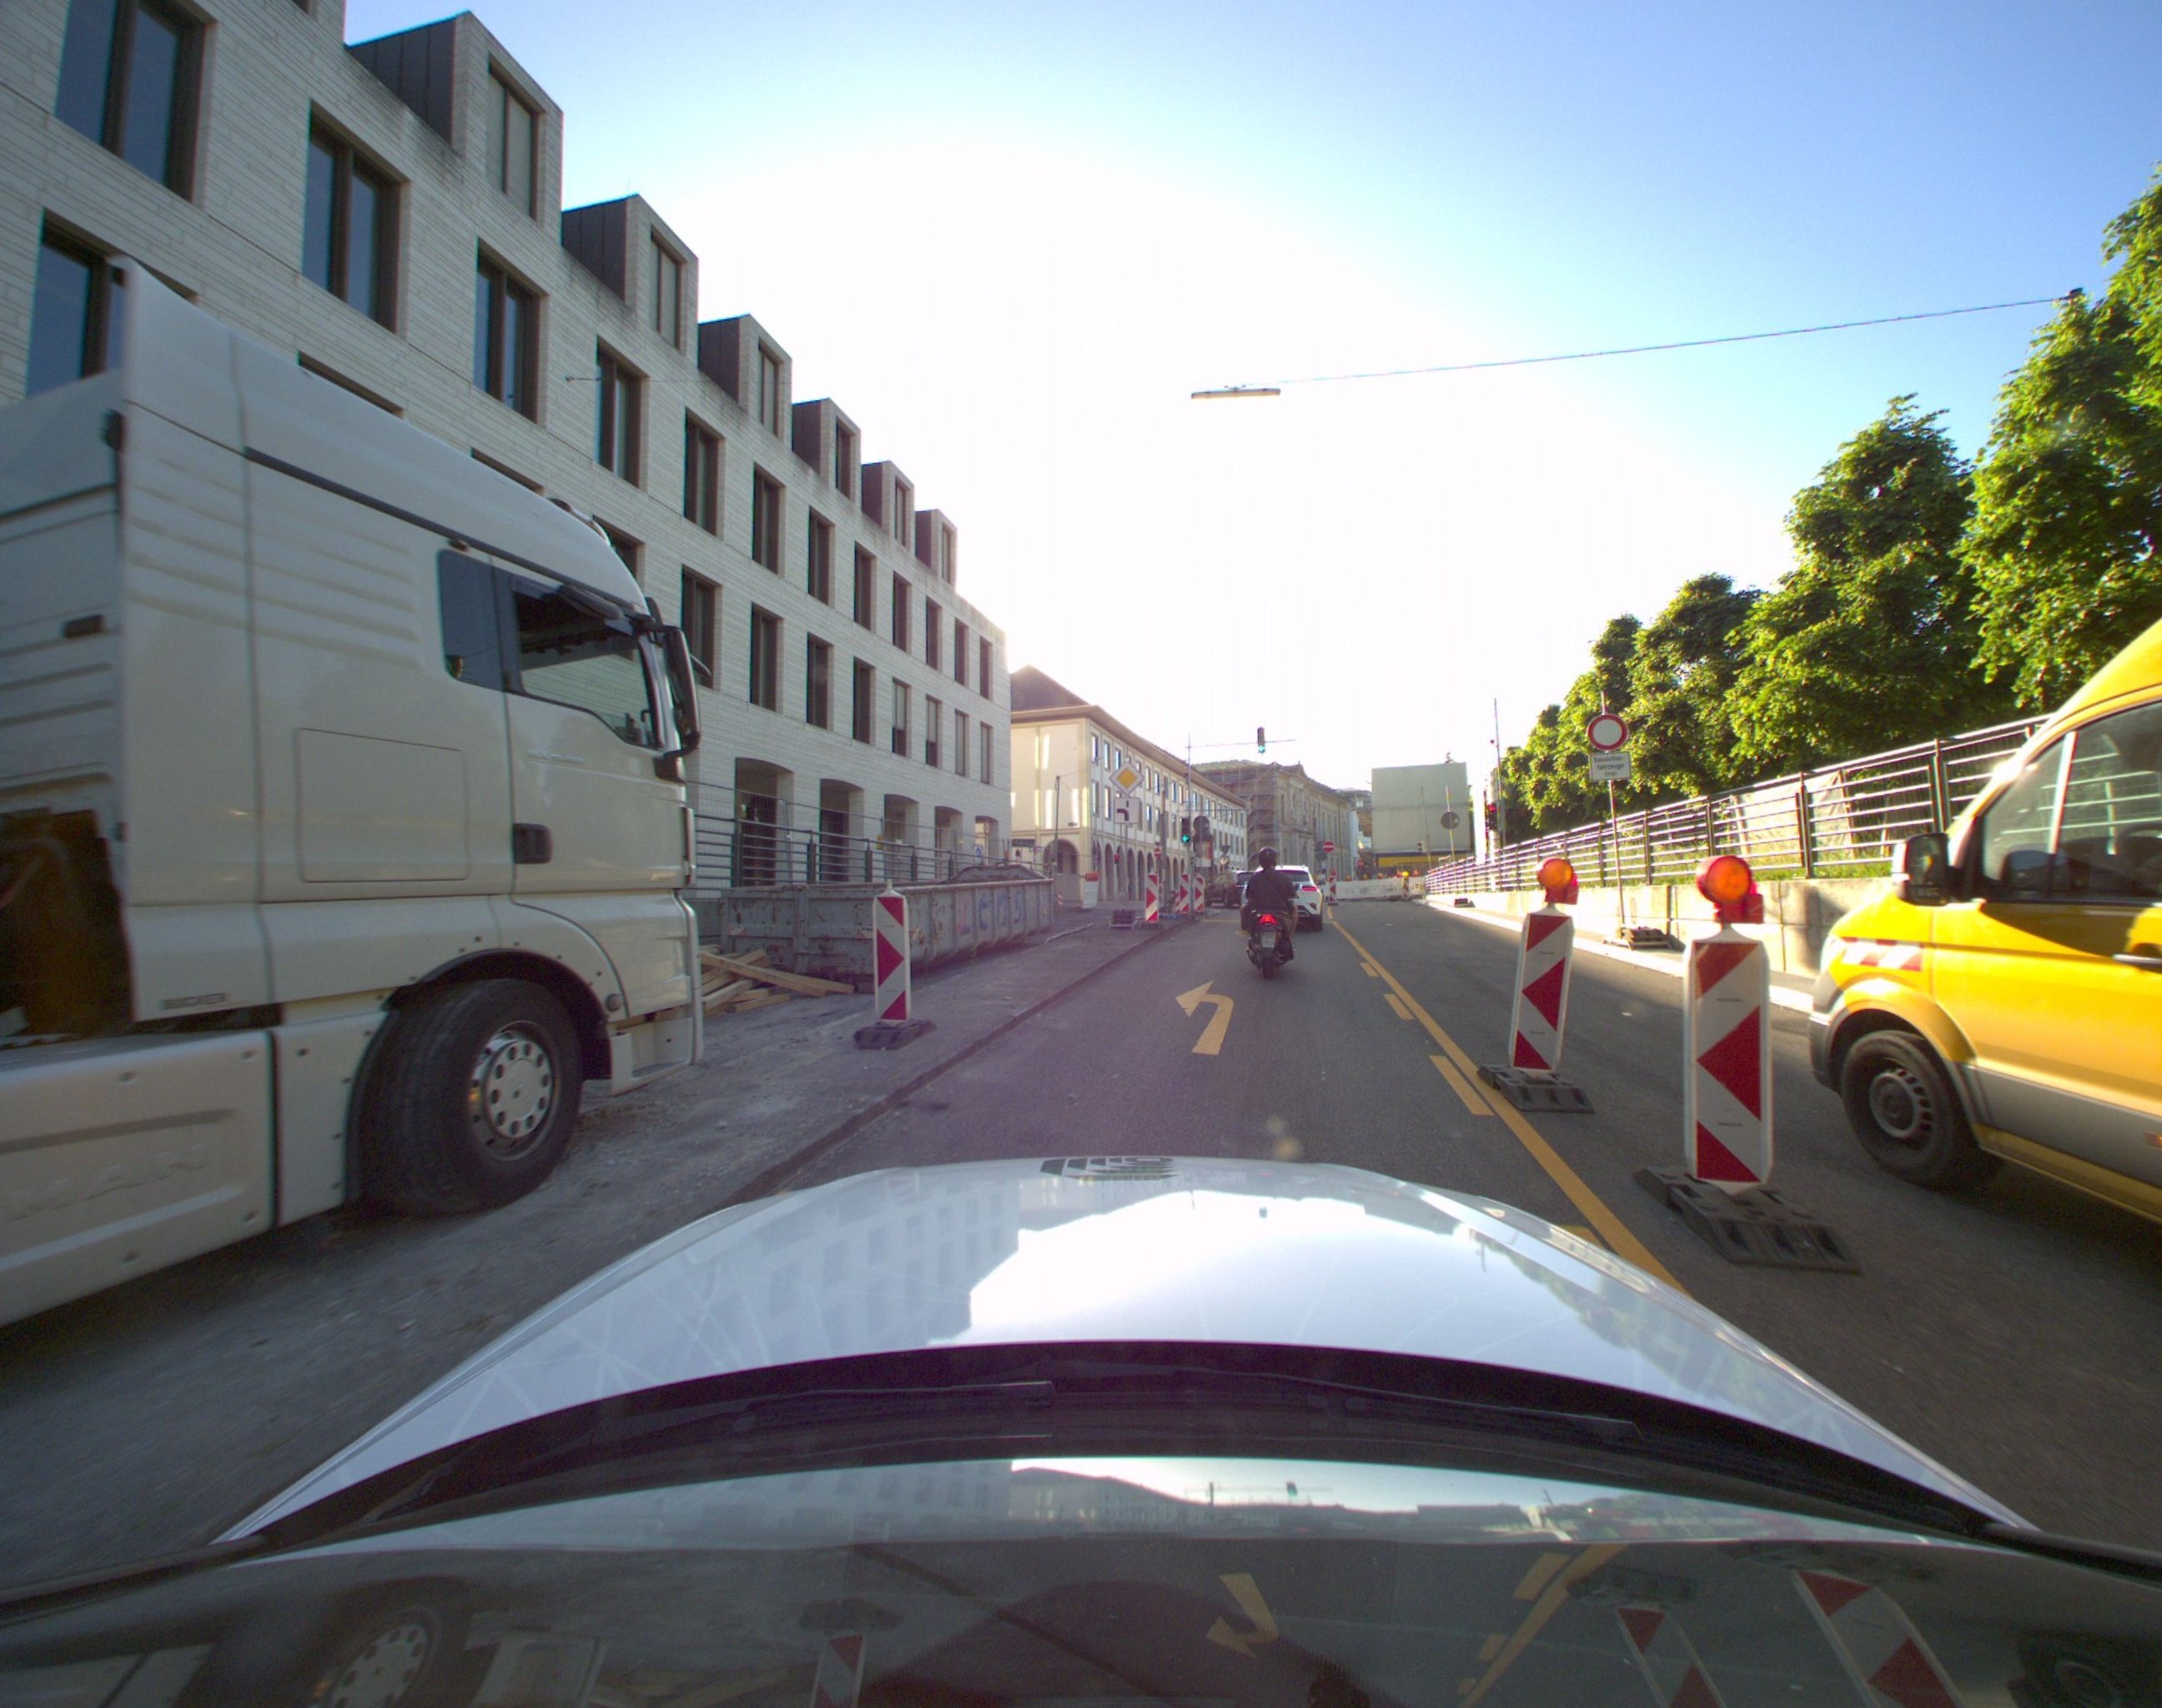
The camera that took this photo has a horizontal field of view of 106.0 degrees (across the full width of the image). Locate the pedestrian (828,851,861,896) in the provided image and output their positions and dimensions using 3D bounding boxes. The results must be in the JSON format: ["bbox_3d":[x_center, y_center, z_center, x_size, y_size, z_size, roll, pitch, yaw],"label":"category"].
[{"bbox_3d":[-8.237,0.687,28.434,0.665,1.488,0.801,-5,-1,16],"label":"pedestrian"}]

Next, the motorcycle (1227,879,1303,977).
[{"bbox_3d":[2.652,0.975,11.541,0.899,1.183,2.589,-1,-1,15],"label":"motorcycle"}]

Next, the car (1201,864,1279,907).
[{"bbox_3d":[6.202,1.267,32.204,1.773,1.550,4.094,-1,-3,-8],"label":"car"}]

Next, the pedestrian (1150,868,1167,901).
[{"bbox_3d":[4.433,1.734,46.546,0.767,1.802,0.714,-2,-1,18],"label":"pedestrian"}]

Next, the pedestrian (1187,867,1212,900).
[{"bbox_3d":[6.677,1.671,45.921,1.233,1.802,0.720,-2,-1,18],"label":"pedestrian"}]

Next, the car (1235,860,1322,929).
[{"bbox_3d":[4.845,0.951,19.728,1.845,1.472,4.016,0,-2,15],"label":"car"}]

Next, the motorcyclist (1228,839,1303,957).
[{"bbox_3d":[2.624,0.602,11.512,0.947,1.560,1.244,-1,-1,15],"label":"motorcyclist"}]

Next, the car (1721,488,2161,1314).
[{"bbox_3d":[4.225,0.132,1.399,2.097,2.625,7.012,-2,-1,13],"label":"car"}]

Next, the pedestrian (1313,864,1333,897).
[{"bbox_3d":[13.397,1.483,45.060,0.966,1.729,0.802,-3,-4,18],"label":"pedestrian"}]

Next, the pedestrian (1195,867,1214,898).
[{"bbox_3d":[7.177,1.664,47.408,0.930,1.778,0.714,-2,-1,18],"label":"pedestrian"}]

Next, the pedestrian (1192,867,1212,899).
[{"bbox_3d":[6.933,1.639,46.634,0.930,1.778,0.714,-2,-1,18],"label":"pedestrian"}]

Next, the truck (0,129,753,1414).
[{"bbox_3d":[-4.129,-0.186,2.562,2.561,3.489,5.838,-5,-1,14],"label":"truck"}]
